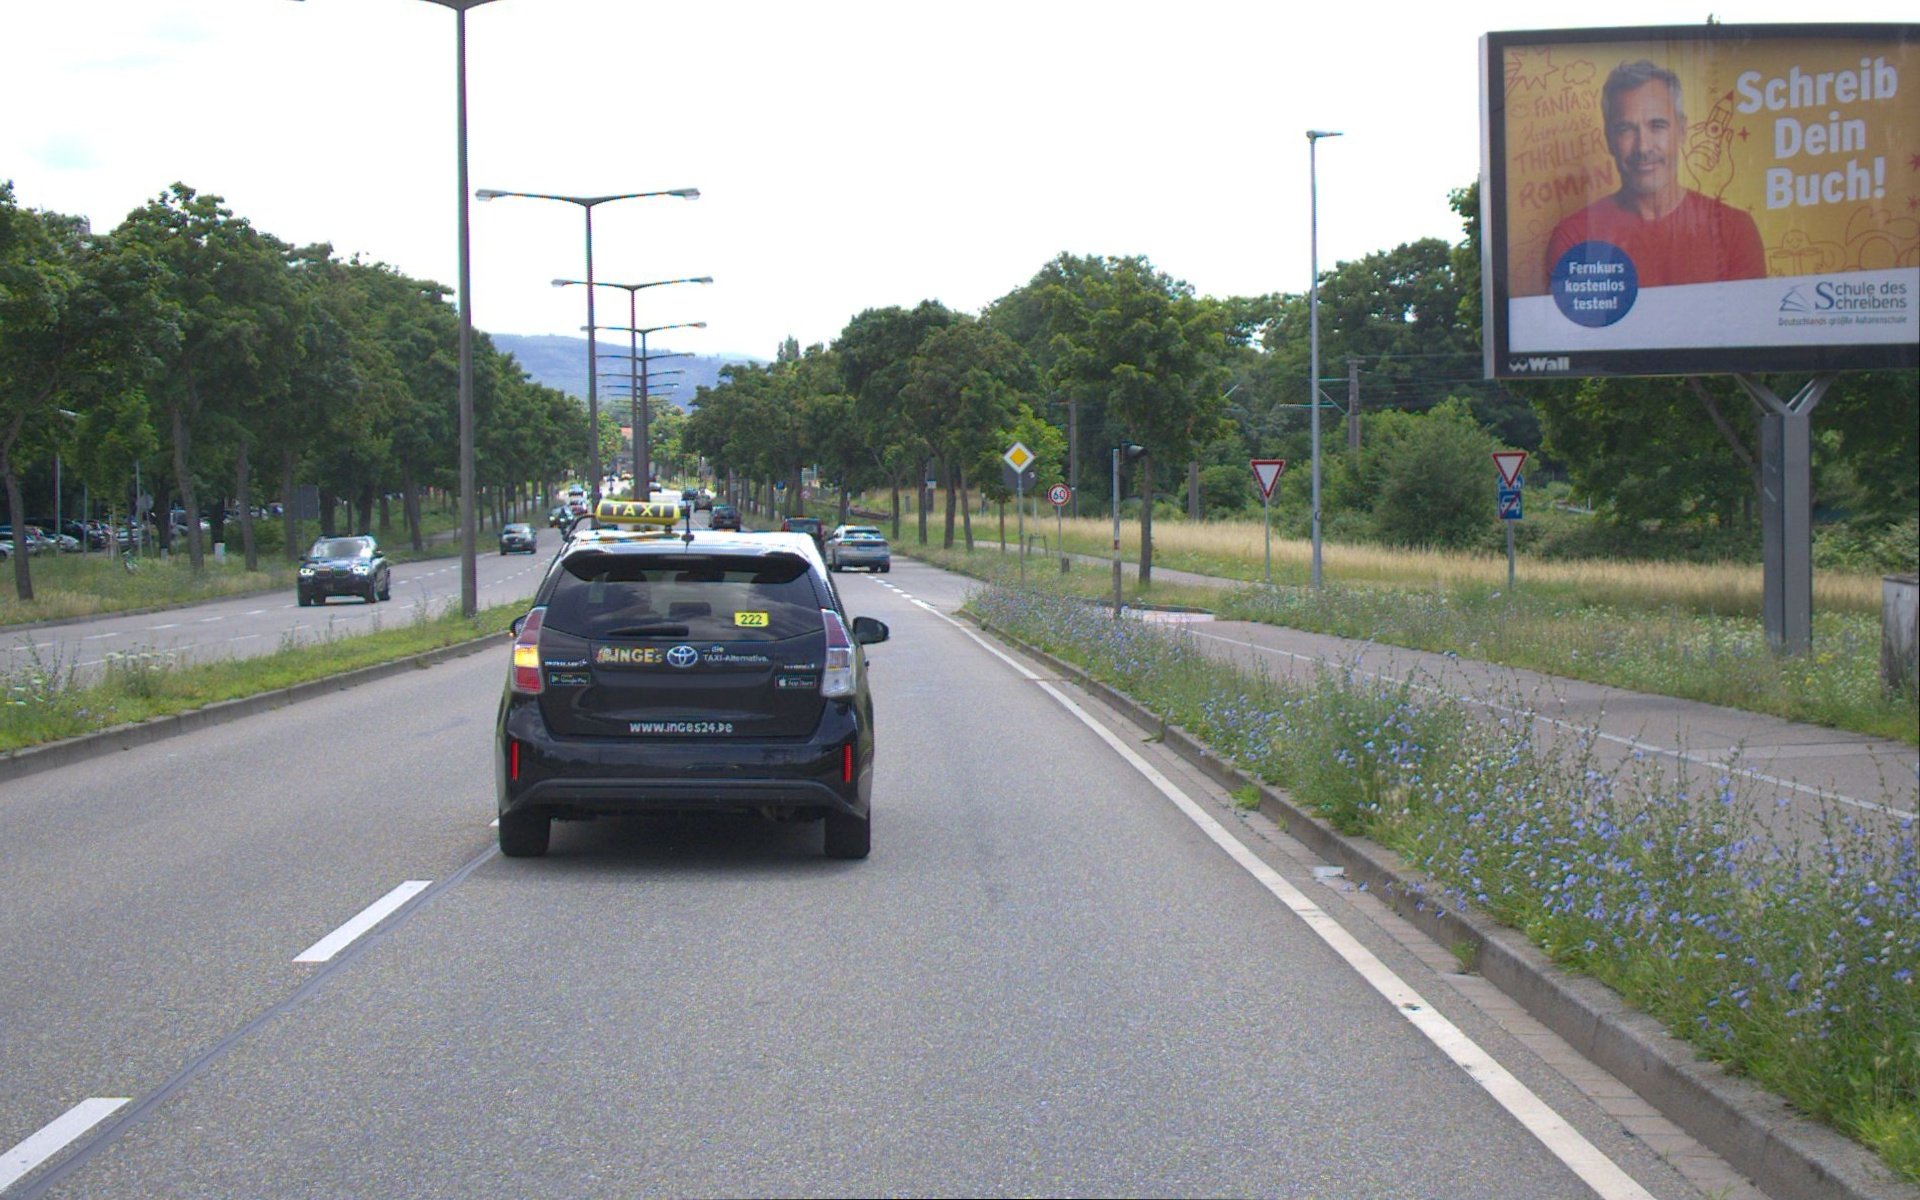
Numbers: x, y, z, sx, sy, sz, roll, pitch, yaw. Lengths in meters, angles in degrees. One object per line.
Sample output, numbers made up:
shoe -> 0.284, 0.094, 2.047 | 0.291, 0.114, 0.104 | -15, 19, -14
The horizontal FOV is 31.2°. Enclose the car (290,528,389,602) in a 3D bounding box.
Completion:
car -> -16.008, -0.909, 88.898 | 1.876, 1.784, 4.729 | -3, 1, -3

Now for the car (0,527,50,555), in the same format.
car -> -50.074, -3.107, 181.056 | 3.785, 1.383, 1.786 | 1, 2, 0

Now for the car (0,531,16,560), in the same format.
car -> -49.105, -2.747, 171.088 | 3.785, 1.383, 1.786 | 1, 2, 0

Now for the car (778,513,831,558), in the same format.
car -> -6.190, -2.579, 136.548 | 1.993, 1.656, 4.001 | 1, 2, -4

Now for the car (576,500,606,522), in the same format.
car -> -24.708, -5.958, 230.281 | 1.810, 1.393, 4.735 | -1, 2, -4

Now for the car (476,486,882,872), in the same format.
car -> -1.386, 0.289, 17.261 | 1.779, 1.678, 4.001 | 1, 2, -4

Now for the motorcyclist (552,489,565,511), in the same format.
motorcyclist -> -26.440, -6.603, 226.457 | 0.827, 1.409, 1.329 | 1, 2, -4

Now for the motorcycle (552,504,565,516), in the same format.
motorcycle -> -26.458, -5.935, 226.526 | 0.751, 0.769, 2.672 | 1, 2, -4

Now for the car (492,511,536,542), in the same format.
car -> -20.953, -3.457, 161.553 | 1.700, 1.422, 3.676 | -1, 1, -13

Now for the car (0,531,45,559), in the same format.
car -> -48.826, -2.824, 175.444 | 3.785, 1.383, 1.786 | 1, 2, 0

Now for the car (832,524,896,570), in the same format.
car -> -3.468, -1.913, 123.241 | 1.993, 1.503, 4.001 | 1, 2, -6
